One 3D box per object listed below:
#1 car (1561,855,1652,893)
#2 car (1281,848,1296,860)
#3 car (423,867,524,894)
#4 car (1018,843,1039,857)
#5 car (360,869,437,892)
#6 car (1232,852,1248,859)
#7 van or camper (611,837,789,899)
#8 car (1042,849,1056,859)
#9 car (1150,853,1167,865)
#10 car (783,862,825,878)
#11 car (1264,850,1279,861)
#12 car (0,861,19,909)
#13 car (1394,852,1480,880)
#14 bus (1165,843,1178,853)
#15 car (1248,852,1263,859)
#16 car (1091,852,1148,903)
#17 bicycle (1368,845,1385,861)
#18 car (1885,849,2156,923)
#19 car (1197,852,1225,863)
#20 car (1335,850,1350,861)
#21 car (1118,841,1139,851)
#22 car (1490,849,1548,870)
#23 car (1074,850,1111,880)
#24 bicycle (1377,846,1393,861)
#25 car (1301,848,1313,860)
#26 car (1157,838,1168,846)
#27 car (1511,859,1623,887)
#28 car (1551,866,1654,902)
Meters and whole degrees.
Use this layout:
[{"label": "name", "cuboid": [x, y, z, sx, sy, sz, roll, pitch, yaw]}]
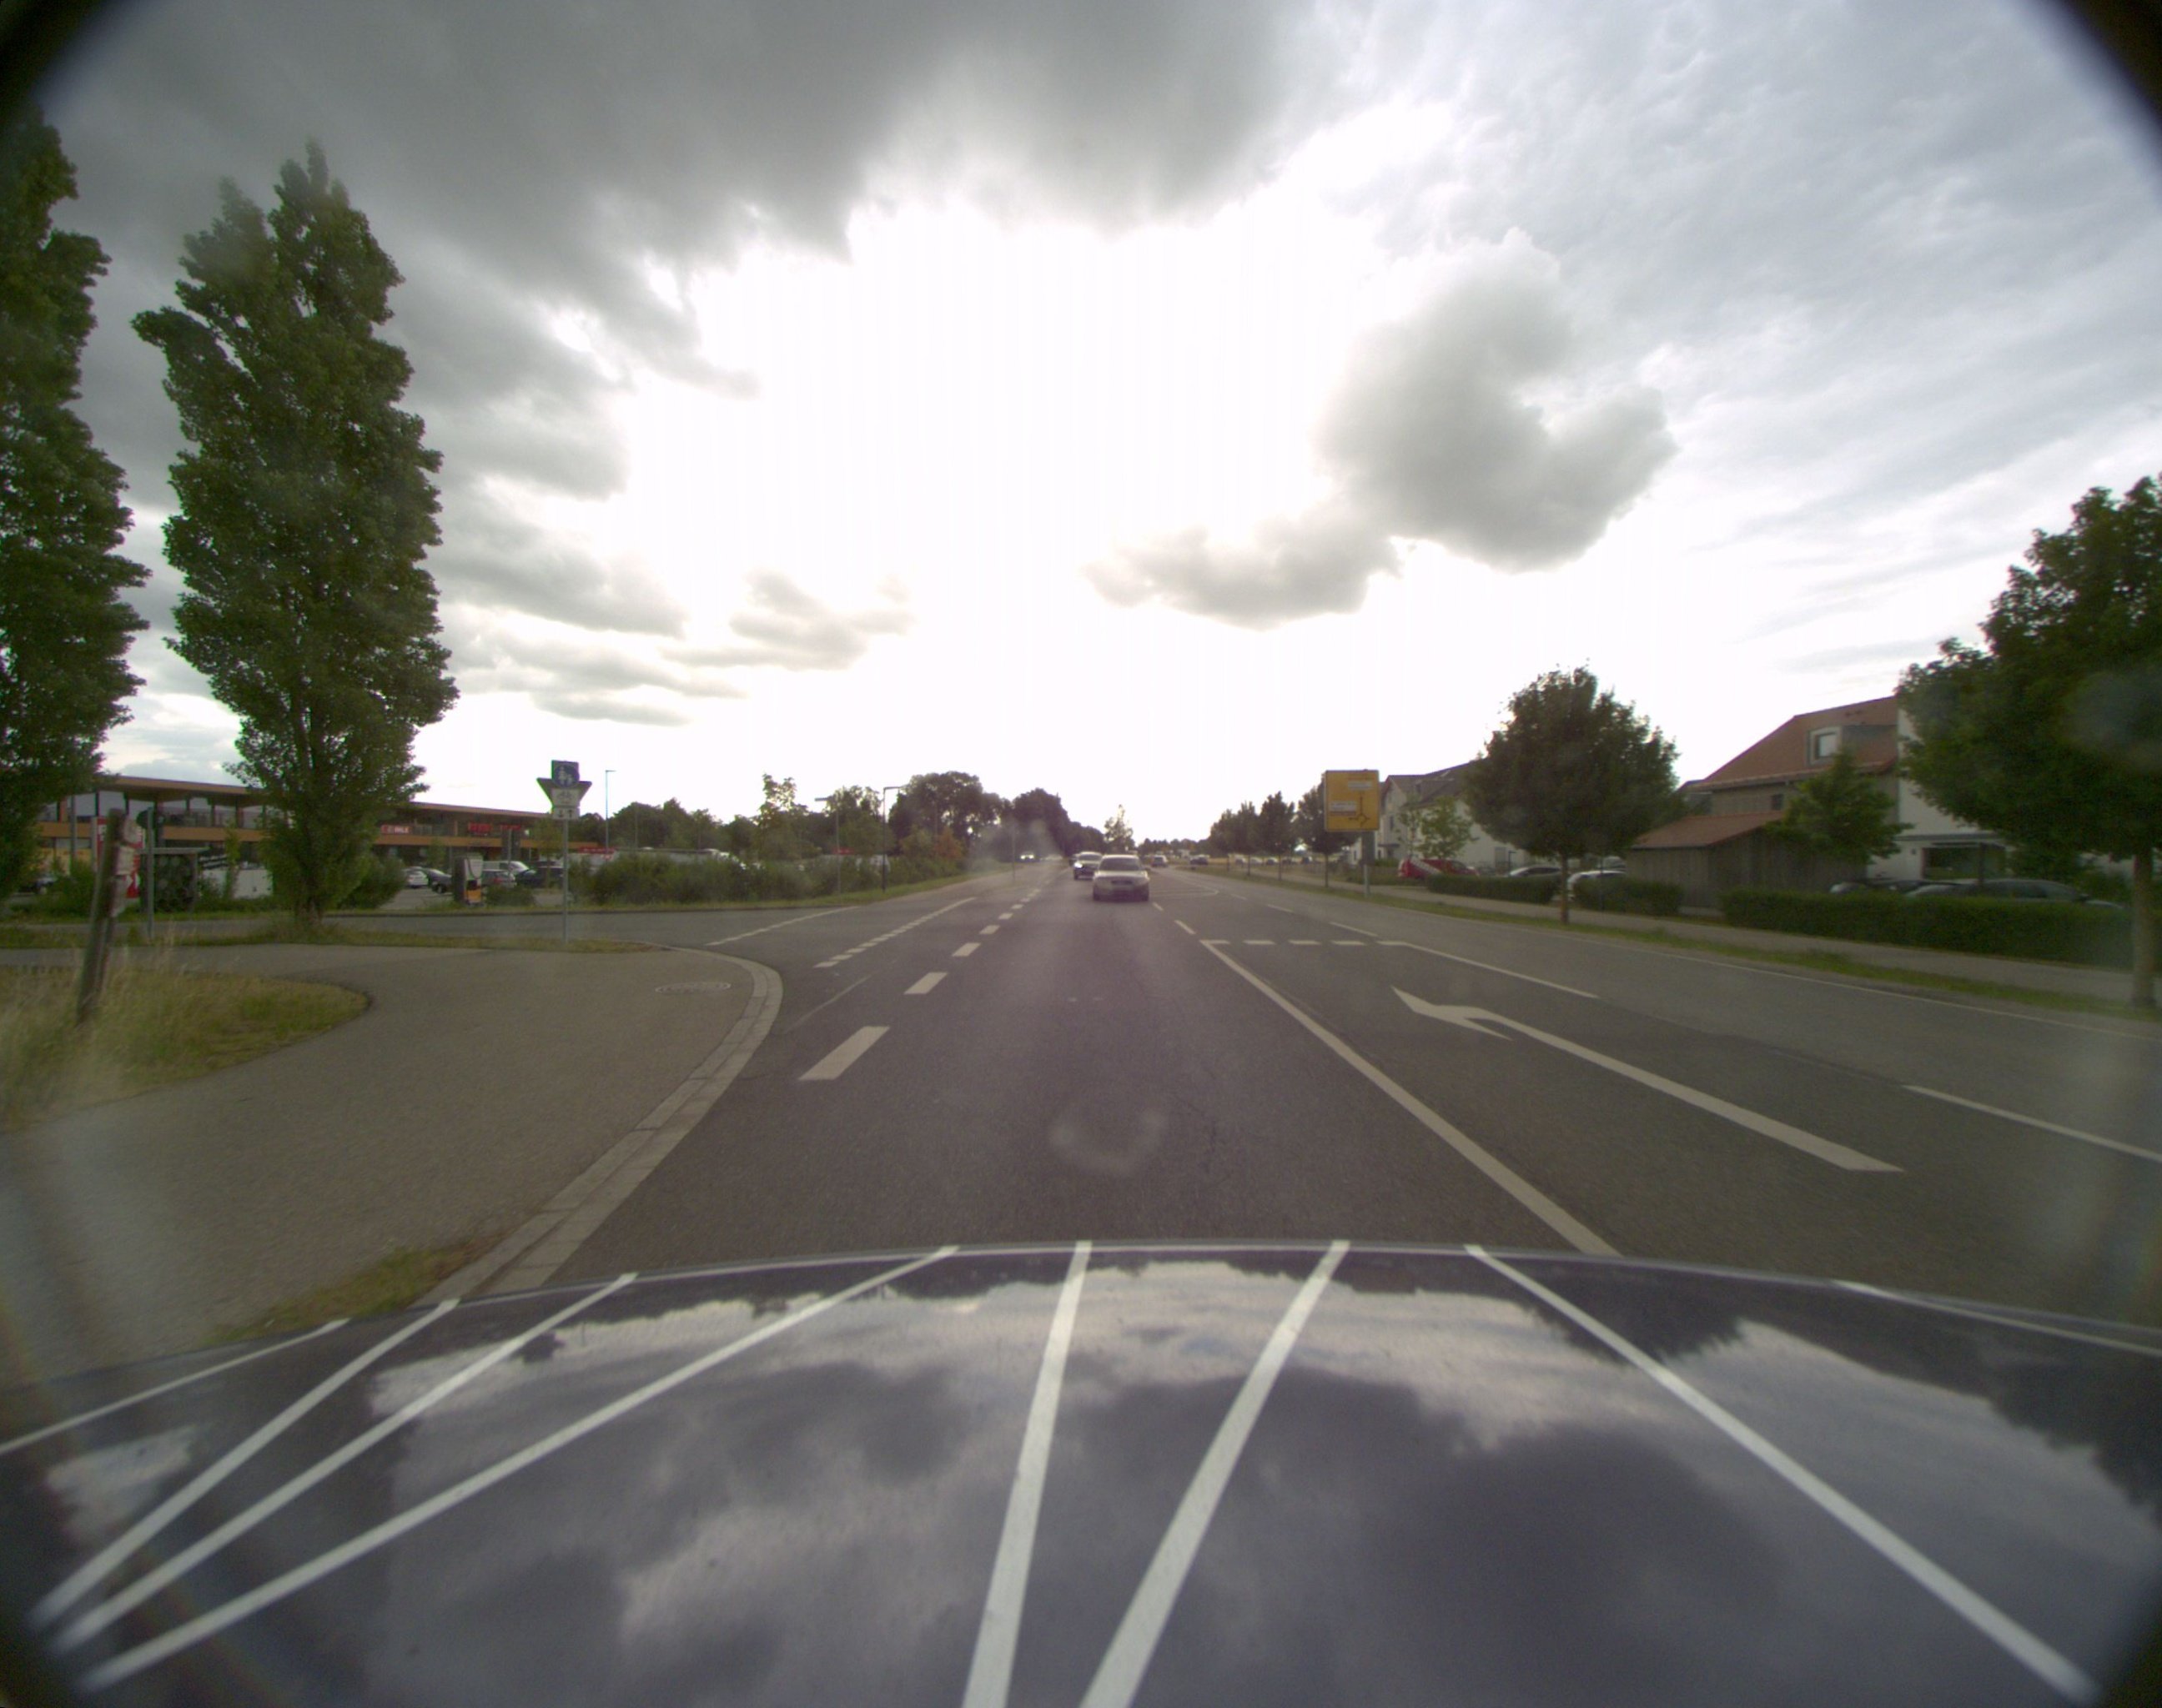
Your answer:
[{"label": "car", "cuboid": [31.474, 1.135, 45.725, 1.998, 2.002, 5.201, -3, 0, 4]}, {"label": "car", "cuboid": [38.138, -0.011, 139.421, 1.995, 2.002, 4.007, 1, 0, 25]}, {"label": "car", "cuboid": [-34.778, 1.498, 43.588, 4.188, 1.424, 1.902, 1, 0, -1]}, {"label": "car", "cuboid": [-7.958, -0.623, 114.220, 2.002, 2.002, 4.234, 1, 0, -21]}, {"label": "car", "cuboid": [-47.124, 1.831, 52.524, 3.746, 1.469, 1.793, 1, 0, 1]}, {"label": "car", "cuboid": [30.057, 0.220, 143.743, 1.995, 1.280, 4.007, 1, 0, 25]}, {"label": "van or camper", "cuboid": [-16.389, 0.582, 32.981, 6.484, 2.450, 2.281, 1, 0, -2]}, {"label": "car", "cuboid": [-5.266, -0.011, 125.640, 1.998, 1.674, 4.001, 1, 0, 3]}, {"label": "car", "cuboid": [9.767, 0.597, 95.734, 1.774, 1.435, 4.000, 1, 0, 1]}, {"label": "car", "cuboid": [-28.041, 1.637, 76.982, 3.558, 1.524, 1.753, 1, 0, -1]}, {"label": "car", "cuboid": [35.382, 0.337, 141.268, 1.995, 2.002, 4.007, 1, 0, 25]}, {"label": "car", "cuboid": [-44.360, 1.216, 28.426, 2.107, 1.895, 4.946, 1, 0, 9]}, {"label": "car", "cuboid": [24.349, 0.810, 52.125, 4.915, 1.805, 1.907, 1, 0, 6]}, {"label": "bus", "cuboid": [31.121, -1.980, 262.012, 2.992, 3.261, 6.481, 1, 0, -5]}, {"label": "car", "cuboid": [32.700, 0.279, 142.243, 1.995, 1.280, 4.007, 1, 0, 25]}, {"label": "car", "cuboid": [1.277, 0.691, 24.790, 1.700, 1.458, 4.000, 1, 1, 4]}, {"label": "bicycle", "cuboid": [27.495, -0.111, 70.706, 0.684, 1.409, 2.094, 1, 0, 1]}, {"label": "car", "cuboid": [22.745, 0.741, 18.547, 3.996, 1.608, 2.000, 1, 0, 2]}, {"label": "car", "cuboid": [20.620, 0.581, 120.650, 4.212, 1.573, 1.832, 2, 0, 1]}, {"label": "car", "cuboid": [47.423, 0.330, 137.773, 1.994, 2.002, 4.008, 1, 0, 28]}, {"label": "car", "cuboid": [8.646, -1.469, 138.624, 1.994, 1.674, 4.009, 1, 0, 37]}, {"label": "car", "cuboid": [32.630, 0.388, 56.735, 1.998, 1.499, 4.000, 1, 0, 1]}, {"label": "car", "cuboid": [0.714, 0.562, 43.408, 1.869, 1.578, 5.063, -1, 1, 3]}, {"label": "bicycle", "cuboid": [28.280, -0.052, 70.714, 0.684, 1.420, 2.094, 1, 0, 1]}, {"label": "car", "cuboid": [40.911, 0.028, 137.863, 1.996, 2.002, 4.005, 1, 0, 16]}, {"label": "car", "cuboid": [15.979, -2.367, 149.023, 1.774, 1.435, 4.000, 1, 0, 1]}, {"label": "car", "cuboid": [26.718, 1.028, 41.910, 4.917, 1.422, 1.906, 1, 0, 2]}, {"label": "car", "cuboid": [23.362, 1.313, 34.135, 3.523, 1.480, 1.563, 1, 0, 0]}]
